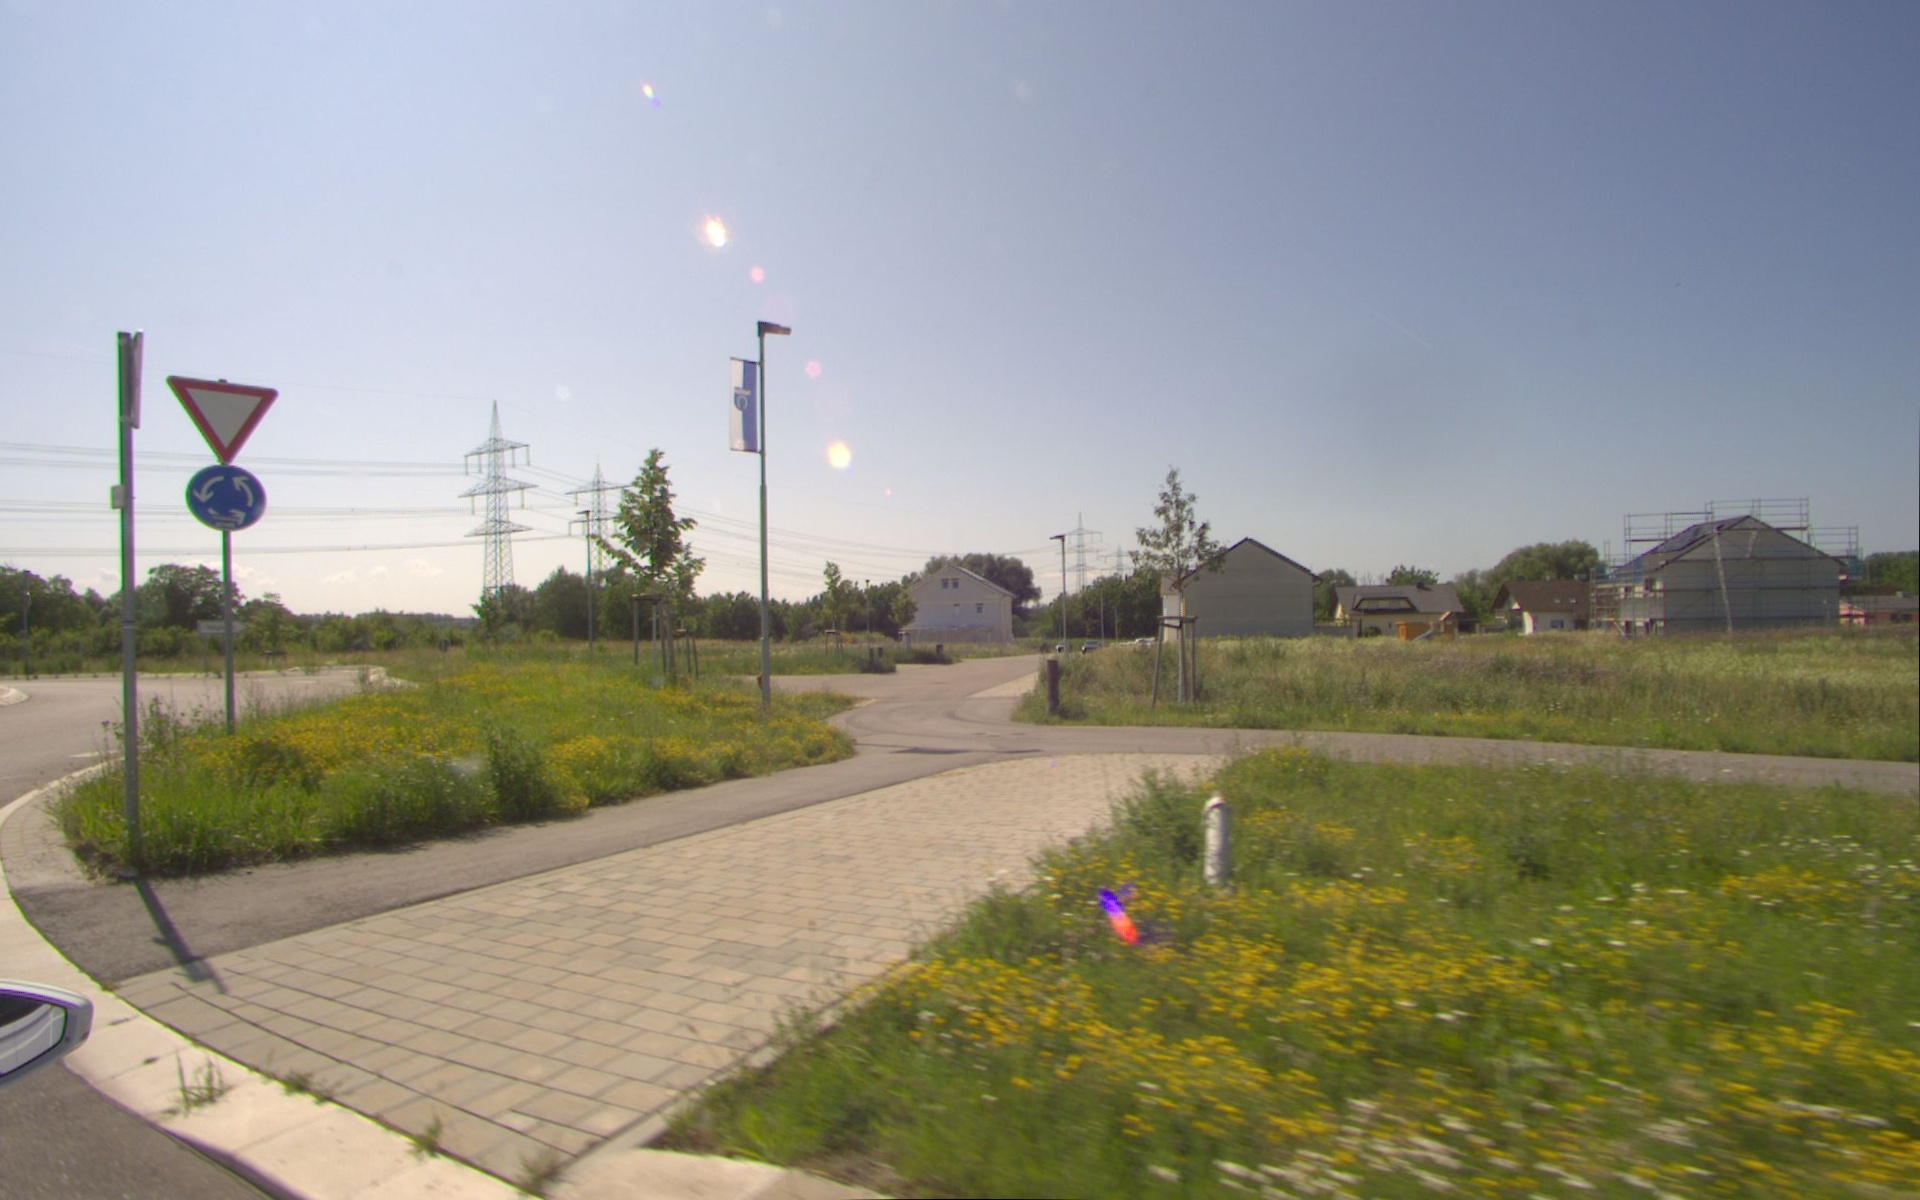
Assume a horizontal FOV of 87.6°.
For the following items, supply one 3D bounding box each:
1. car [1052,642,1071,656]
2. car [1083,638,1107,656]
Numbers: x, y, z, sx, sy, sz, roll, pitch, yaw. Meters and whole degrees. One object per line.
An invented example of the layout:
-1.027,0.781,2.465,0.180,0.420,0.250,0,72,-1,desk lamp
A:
12.855,6.168,126.698,1.652,1.682,3.482,-2,-3,20,car
13.333,4.644,98.785,1.652,1.682,3.482,-2,-3,20,car
